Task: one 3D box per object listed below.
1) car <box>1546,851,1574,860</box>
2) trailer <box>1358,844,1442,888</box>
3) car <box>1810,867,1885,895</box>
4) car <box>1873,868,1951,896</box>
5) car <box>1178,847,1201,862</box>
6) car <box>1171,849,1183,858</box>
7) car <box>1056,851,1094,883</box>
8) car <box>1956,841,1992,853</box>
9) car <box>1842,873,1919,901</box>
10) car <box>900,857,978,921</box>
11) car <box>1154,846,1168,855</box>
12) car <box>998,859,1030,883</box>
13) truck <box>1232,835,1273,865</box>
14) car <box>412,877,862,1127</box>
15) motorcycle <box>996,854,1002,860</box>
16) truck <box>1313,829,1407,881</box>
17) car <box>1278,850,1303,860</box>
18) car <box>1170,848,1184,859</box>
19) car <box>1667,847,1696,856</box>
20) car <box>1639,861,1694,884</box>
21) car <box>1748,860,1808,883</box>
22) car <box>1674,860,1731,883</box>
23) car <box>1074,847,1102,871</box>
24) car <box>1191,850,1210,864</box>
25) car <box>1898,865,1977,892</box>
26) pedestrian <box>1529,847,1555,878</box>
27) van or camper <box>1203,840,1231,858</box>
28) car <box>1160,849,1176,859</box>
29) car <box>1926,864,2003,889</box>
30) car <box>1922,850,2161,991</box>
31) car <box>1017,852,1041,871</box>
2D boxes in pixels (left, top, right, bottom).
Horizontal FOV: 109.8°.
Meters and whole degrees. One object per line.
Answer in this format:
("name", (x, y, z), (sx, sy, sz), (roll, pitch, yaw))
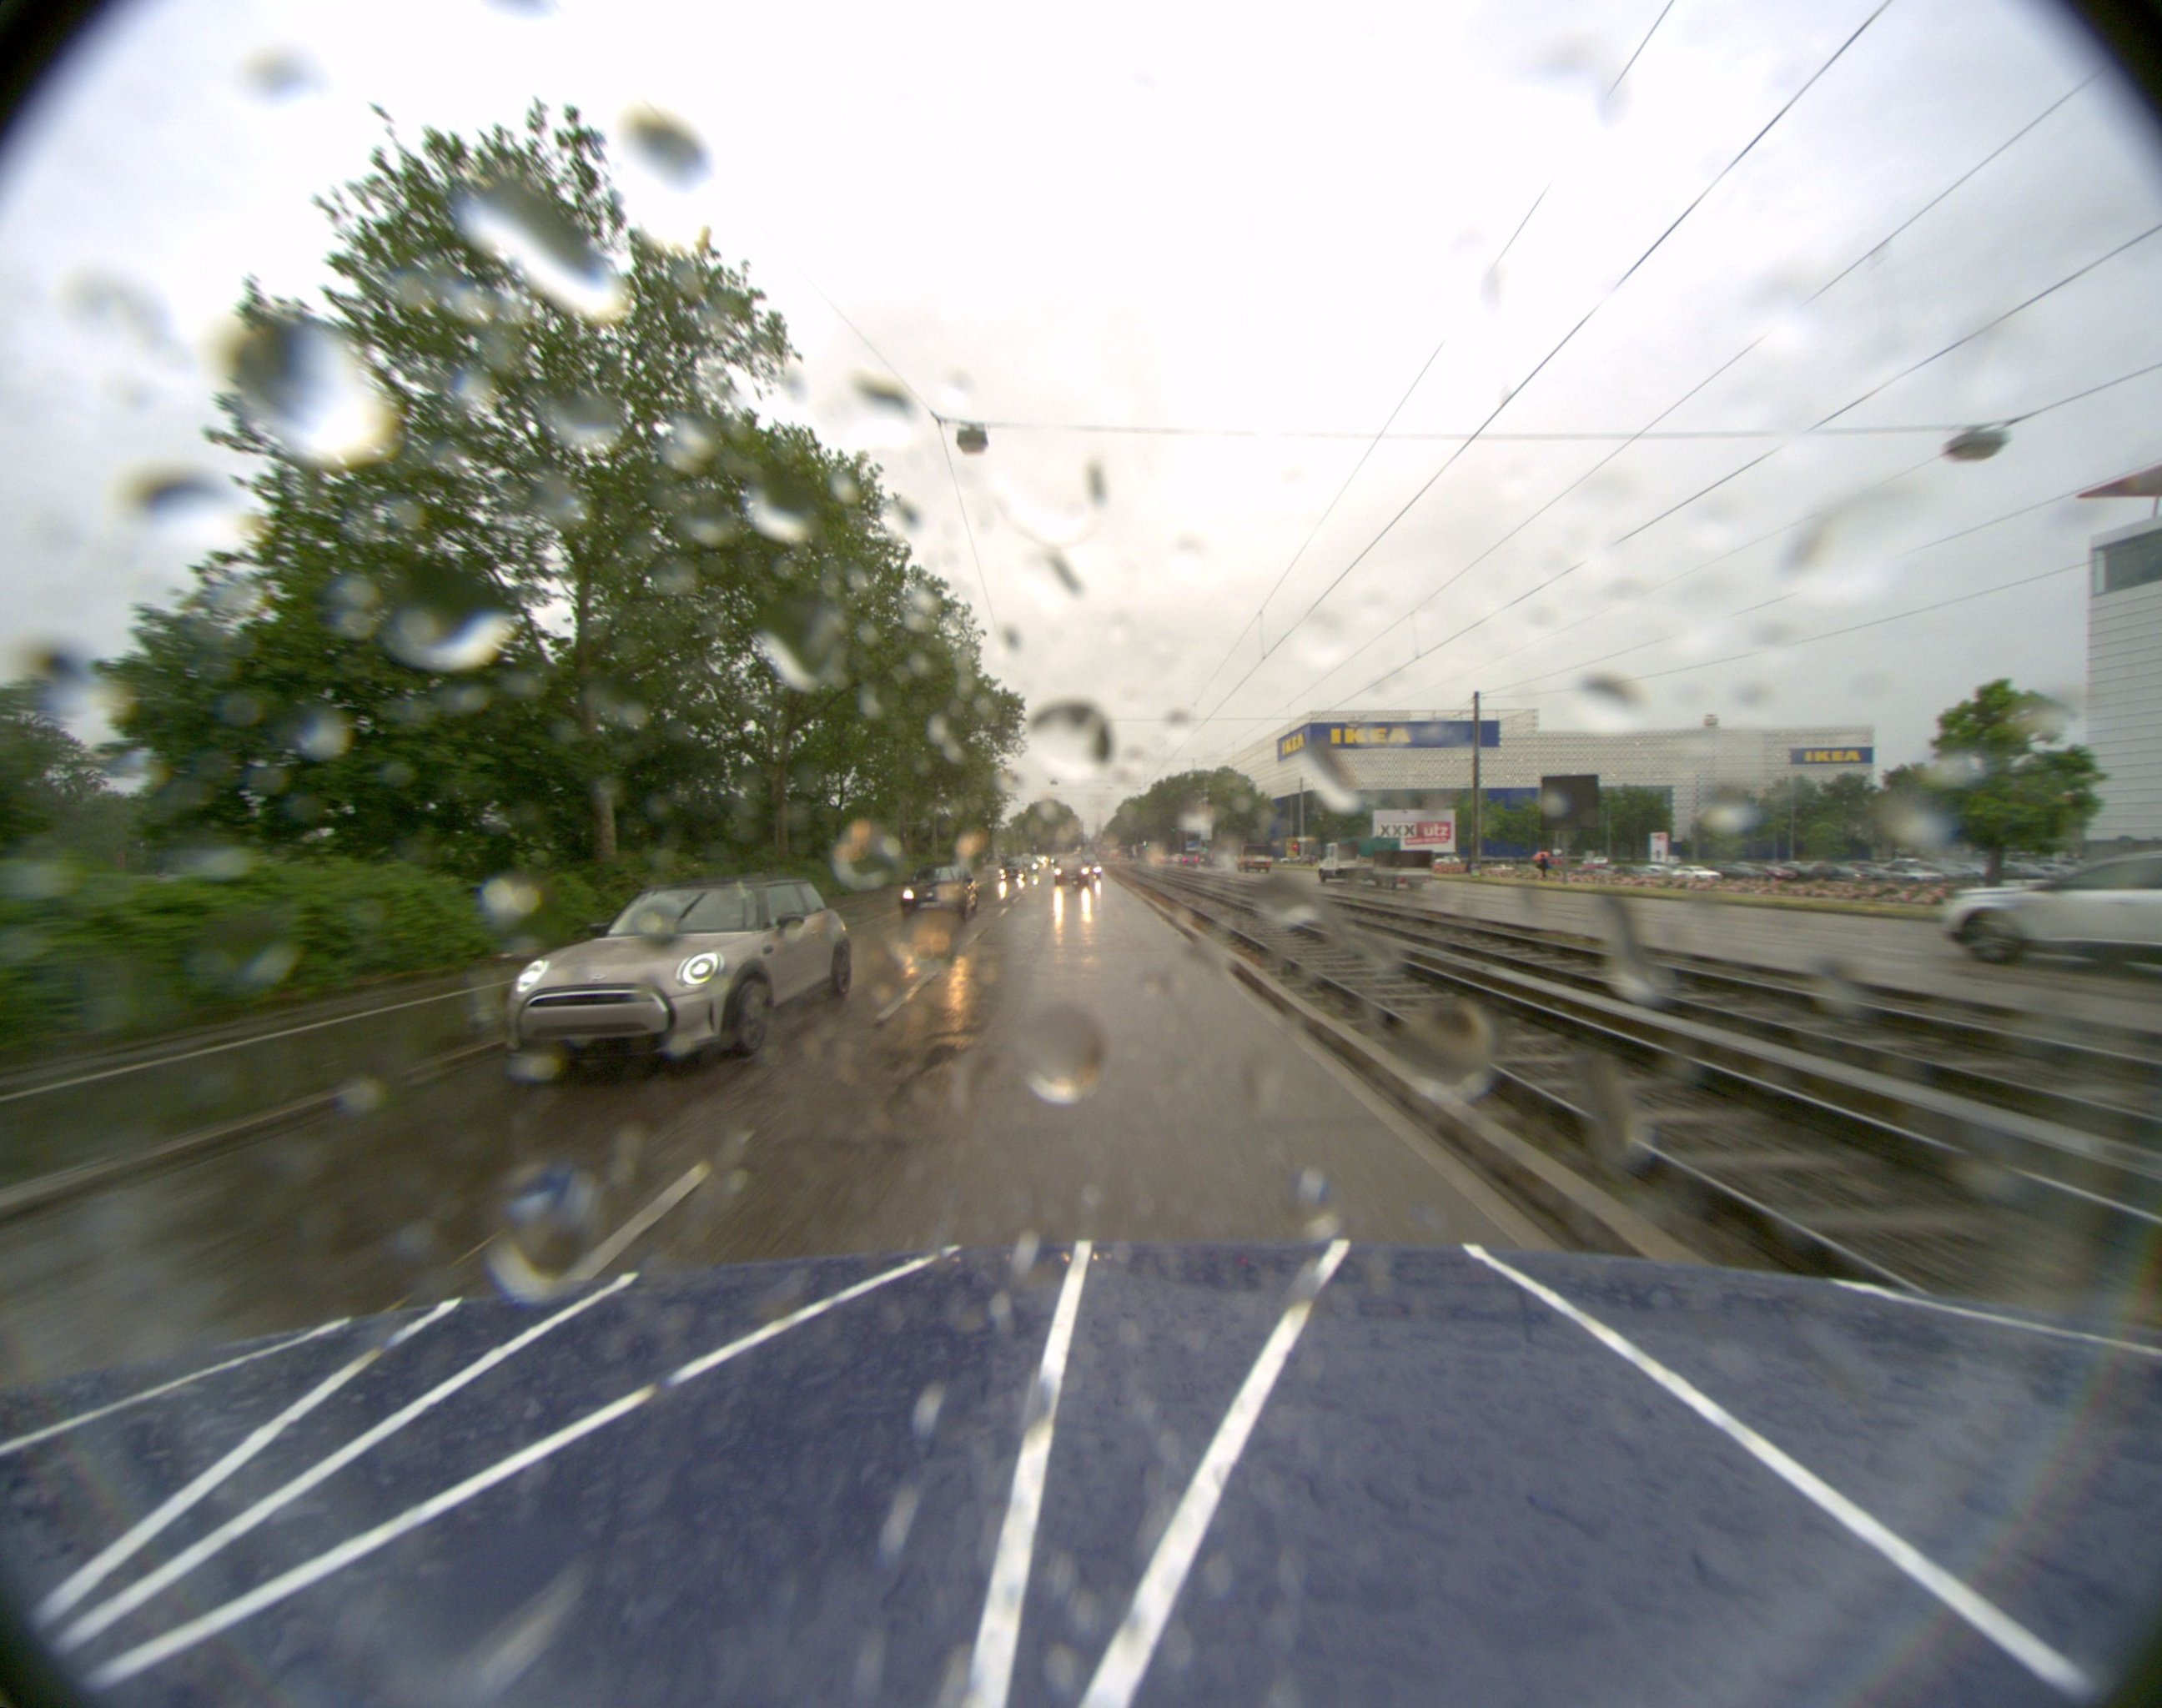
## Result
("car", (85.933, 0.242, 136.295), (3.982, 1.399, 1.602), (-2, 1, 3))
("trailer", (14.320, 0.499, 34.373), (2.124, 1.782, 3.836), (-3, 1, 0))
("car", (62.603, 2.174, 62.120), (1.999, 2.002, 3.998), (-2, 1, -2))
("car", (68.078, 2.229, 62.333), (1.999, 2.002, 3.998), (-2, 1, -2))
("car", (11.712, 0.043, 82.476), (1.823, 1.613, 4.535), (-1, 1, 0))
("car", (20.124, -0.115, 159.396), (1.912, 1.597, 4.842), (-4, 0, 0))
("car", (-0.336, 0.693, 41.213), (1.877, 1.573, 4.043), (-2, -1, -1))
("car", (160.991, -1.301, 136.953), (3.996, 2.002, 2.000), (-2, 1, 2))
("car", (65.312, 2.635, 62.140), (1.999, 2.002, 3.998), (-2, 1, -2))
("car", (-3.796, 0.882, 20.257), (1.778, 1.453, 4.089), (-2, -1, -11))
("car", (14.262, -0.656, 136.178), (1.998, 1.448, 4.671), (1, 1, 1))
("car", (-4.413, 1.125, 50.541), (1.715, 1.476, 4.043), (-2, -1, 0))
("truck", (14.950, -0.357, 66.450), (2.232, 2.447, 6.066), (1, 1, 1))
("car", (-3.481, 1.037, 6.944), (1.796, 1.406, 3.853), (-2, 1, 0))
("motorcycle", (-15.984, 0.654, 148.262), (0.633, 1.211, 1.449), (0, 0, 12))
("truck", (14.503, 0.027, 40.054), (2.441, 2.443, 7.219), (1, 1, 2))
("car", (38.085, 0.207, 138.075), (4.015, 1.609, 1.760), (-2, 1, 2))
("car", (17.840, -0.106, 141.271), (1.998, 1.823, 4.692), (-1, 1, 1))
("car", (106.741, -0.399, 135.080), (3.821, 1.399, 1.602), (-2, 1, 3))
("car", (56.703, 1.723, 73.666), (1.999, 2.002, 4.090), (-3, 1, -2))
("car", (66.832, 1.656, 72.960), (1.999, 2.002, 3.998), (-2, 1, -2))
("car", (59.738, 1.664, 73.077), (1.999, 2.002, 4.090), (-3, 1, -2))
("car", (0.463, 0.347, 51.333), (1.715, 1.515, 4.043), (-2, -1, 0))
("car", (15.349, 0.361, 97.953), (1.862, 1.608, 4.907), (2, 1, 2))
("car", (70.851, 1.999, 62.955), (1.999, 2.002, 3.998), (-2, 1, -2))
("pedestrian", (27.605, 0.502, 45.505), (0.824, 1.752, 1.050), (-3, 1, 3))
("van or camper", (15.356, -0.537, 86.138), (2.310, 2.002, 5.685), (0, 1, 2))
("car", (13.501, -0.074, 118.200), (1.863, 1.485, 4.689), (0, 1, 0))
("car", (77.186, 1.939, 66.482), (1.999, 2.002, 3.998), (-2, 1, -3))
("car", (13.743, 0.791, 9.253), (1.776, 1.673, 4.688), (0, 0, 0))
("car", (-4.554, 0.675, 66.961), (1.715, 1.515, 4.043), (-2, -1, 0))
